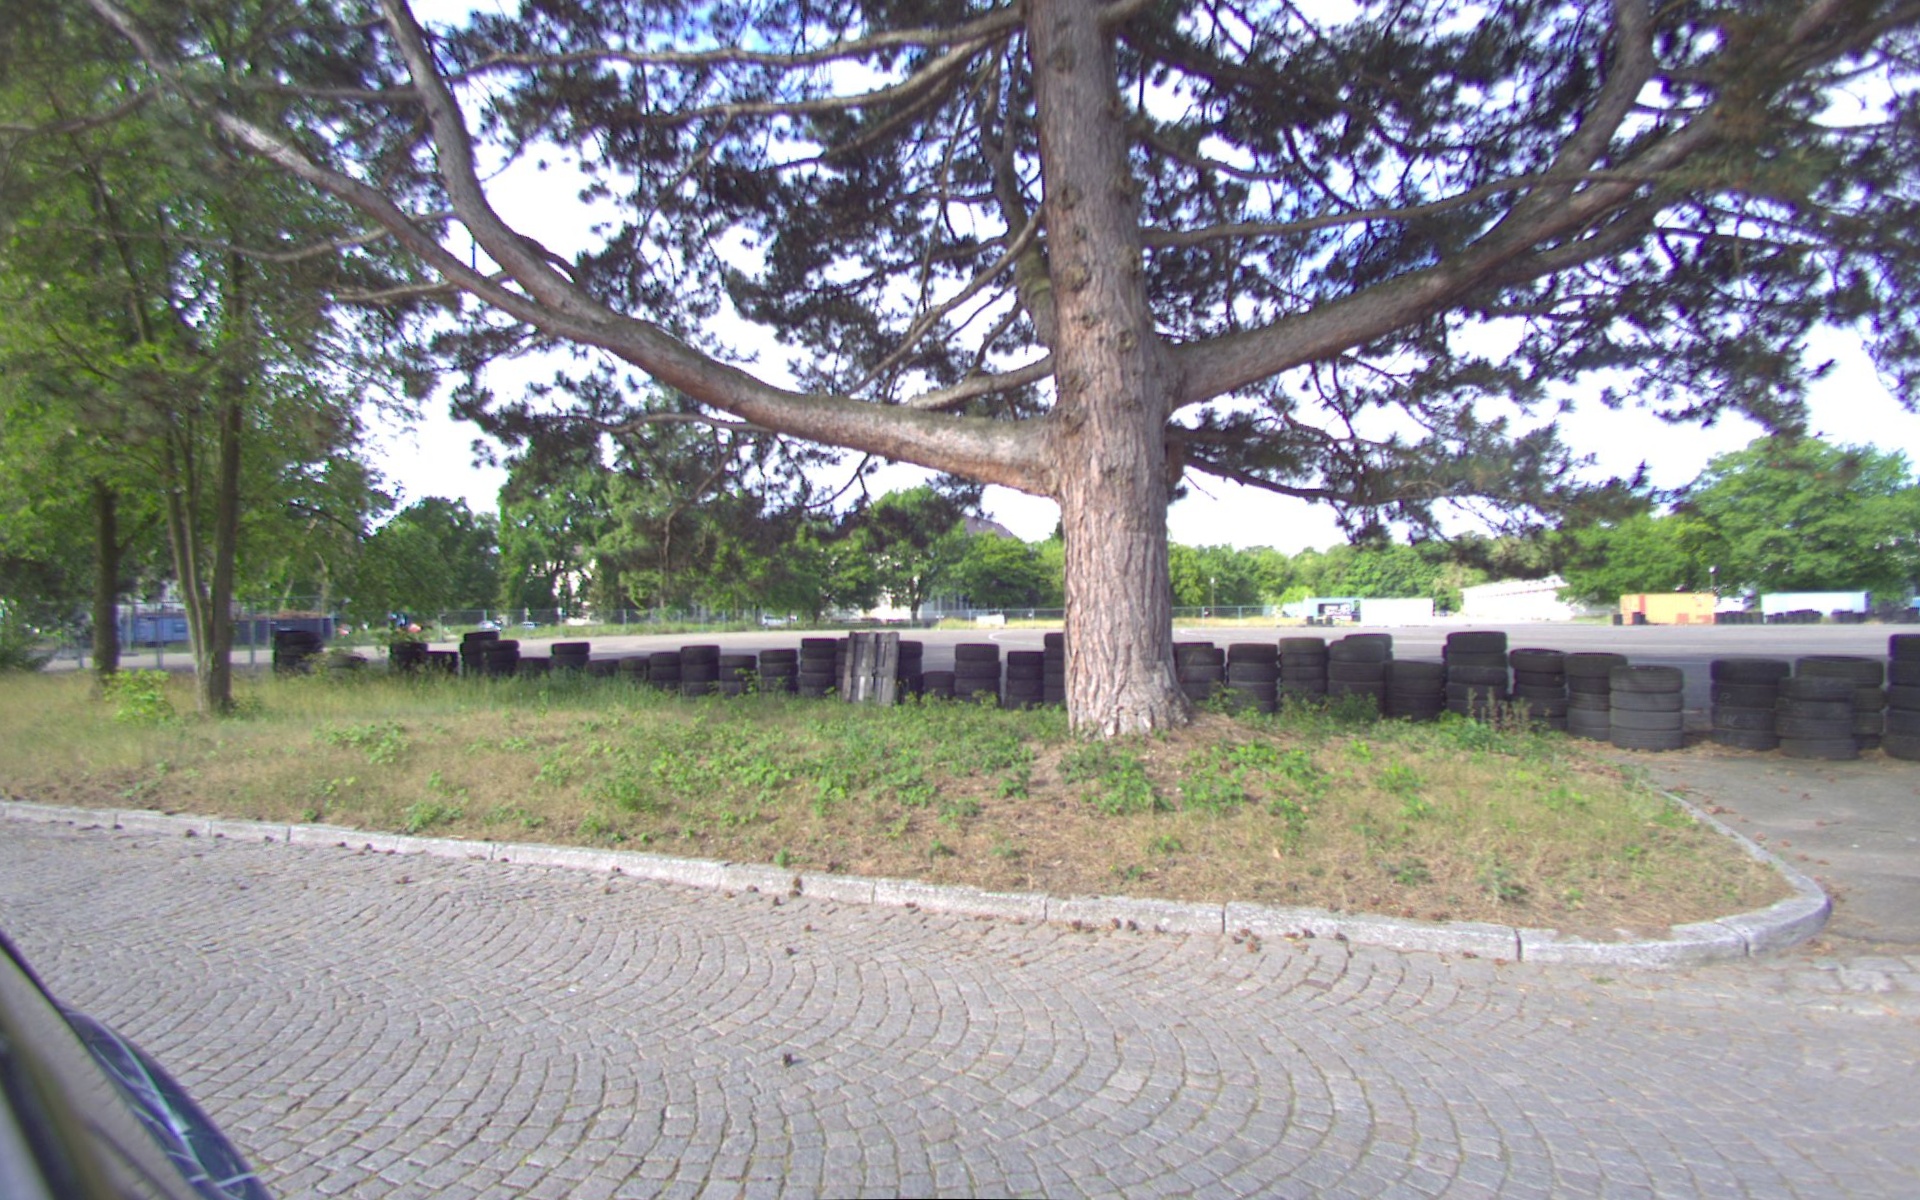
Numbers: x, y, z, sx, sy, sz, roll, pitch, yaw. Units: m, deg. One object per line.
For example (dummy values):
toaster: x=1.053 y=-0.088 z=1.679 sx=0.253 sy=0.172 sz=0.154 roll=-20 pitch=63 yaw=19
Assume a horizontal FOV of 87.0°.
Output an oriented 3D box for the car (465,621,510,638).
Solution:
car: x=-51.397 y=3.203 z=110.135 sx=3.956 sy=1.763 sz=1.994 roll=-1 pitch=-1 yaw=10

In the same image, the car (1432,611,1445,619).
car: x=106.701 y=3.349 z=225.689 sx=1.983 sy=1.763 sz=3.976 roll=-1 pitch=-1 yaw=18
